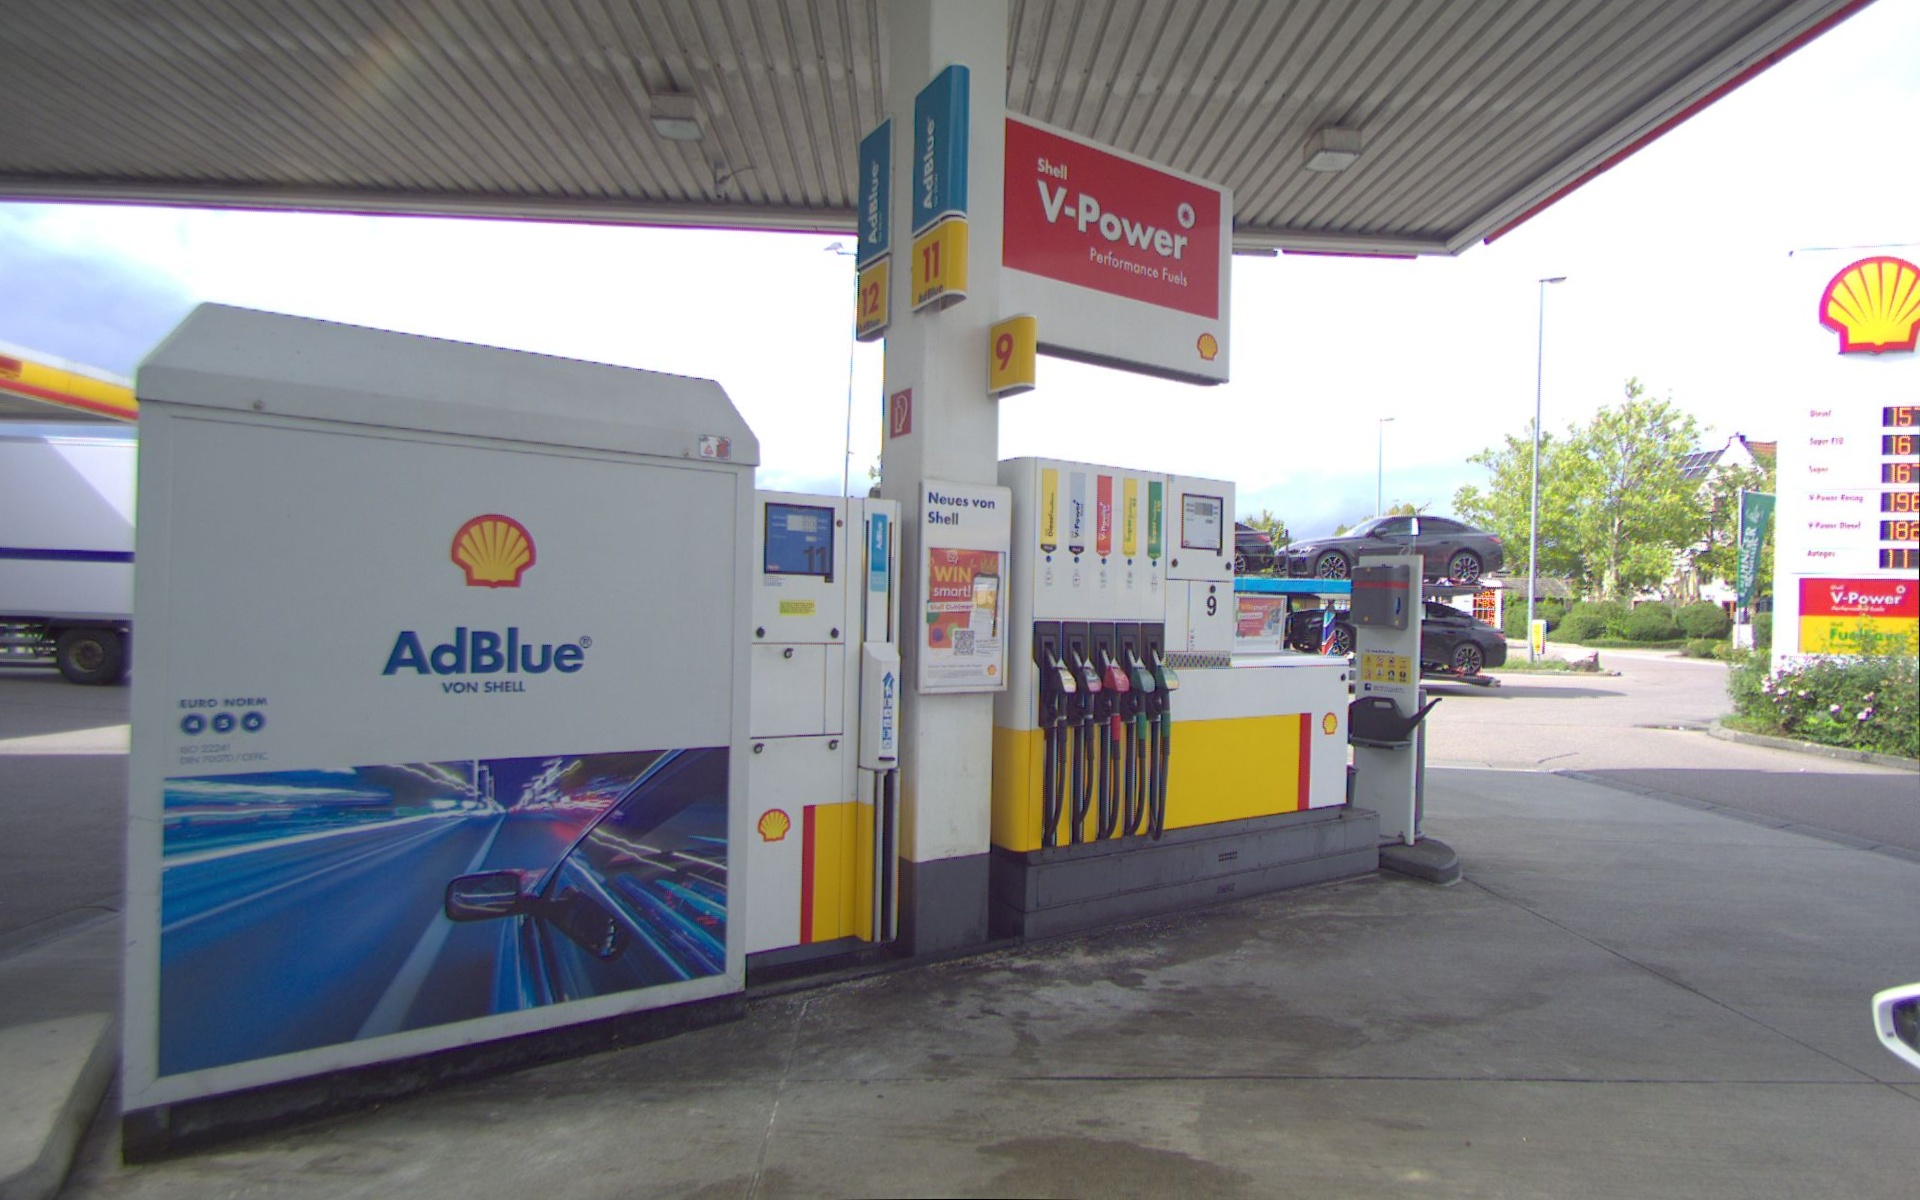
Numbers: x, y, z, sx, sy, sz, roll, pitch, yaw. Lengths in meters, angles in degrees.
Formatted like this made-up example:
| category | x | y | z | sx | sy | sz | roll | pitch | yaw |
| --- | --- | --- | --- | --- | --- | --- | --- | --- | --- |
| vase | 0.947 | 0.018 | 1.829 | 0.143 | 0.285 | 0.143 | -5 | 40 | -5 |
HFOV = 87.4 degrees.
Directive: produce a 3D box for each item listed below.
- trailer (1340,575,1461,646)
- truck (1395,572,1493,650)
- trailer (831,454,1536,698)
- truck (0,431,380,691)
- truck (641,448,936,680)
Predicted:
| category | x | y | z | sx | sy | sz | roll | pitch | yaw |
| --- | --- | --- | --- | --- | --- | --- | --- | --- | --- |
| trailer | 26.532 | 0.612 | 61.352 | 2.684 | 3.826 | 12.718 | 2 | 0 | 5 |
| truck | 25.973 | 0.559 | 54.195 | 2.686 | 3.897 | 5.921 | 2 | 0 | 5 |
| trailer | 4.501 | -0.471 | 21.578 | 14.077 | 4.481 | 2.746 | 2 | 0 | 0 |
| truck | -17.326 | -0.741 | 17.491 | 12.654 | 4.092 | 2.534 | 2 | 0 | -3 |
| truck | -3.475 | -0.707 | 21.538 | 5.713 | 4.479 | 2.750 | 2 | 0 | 0 |
